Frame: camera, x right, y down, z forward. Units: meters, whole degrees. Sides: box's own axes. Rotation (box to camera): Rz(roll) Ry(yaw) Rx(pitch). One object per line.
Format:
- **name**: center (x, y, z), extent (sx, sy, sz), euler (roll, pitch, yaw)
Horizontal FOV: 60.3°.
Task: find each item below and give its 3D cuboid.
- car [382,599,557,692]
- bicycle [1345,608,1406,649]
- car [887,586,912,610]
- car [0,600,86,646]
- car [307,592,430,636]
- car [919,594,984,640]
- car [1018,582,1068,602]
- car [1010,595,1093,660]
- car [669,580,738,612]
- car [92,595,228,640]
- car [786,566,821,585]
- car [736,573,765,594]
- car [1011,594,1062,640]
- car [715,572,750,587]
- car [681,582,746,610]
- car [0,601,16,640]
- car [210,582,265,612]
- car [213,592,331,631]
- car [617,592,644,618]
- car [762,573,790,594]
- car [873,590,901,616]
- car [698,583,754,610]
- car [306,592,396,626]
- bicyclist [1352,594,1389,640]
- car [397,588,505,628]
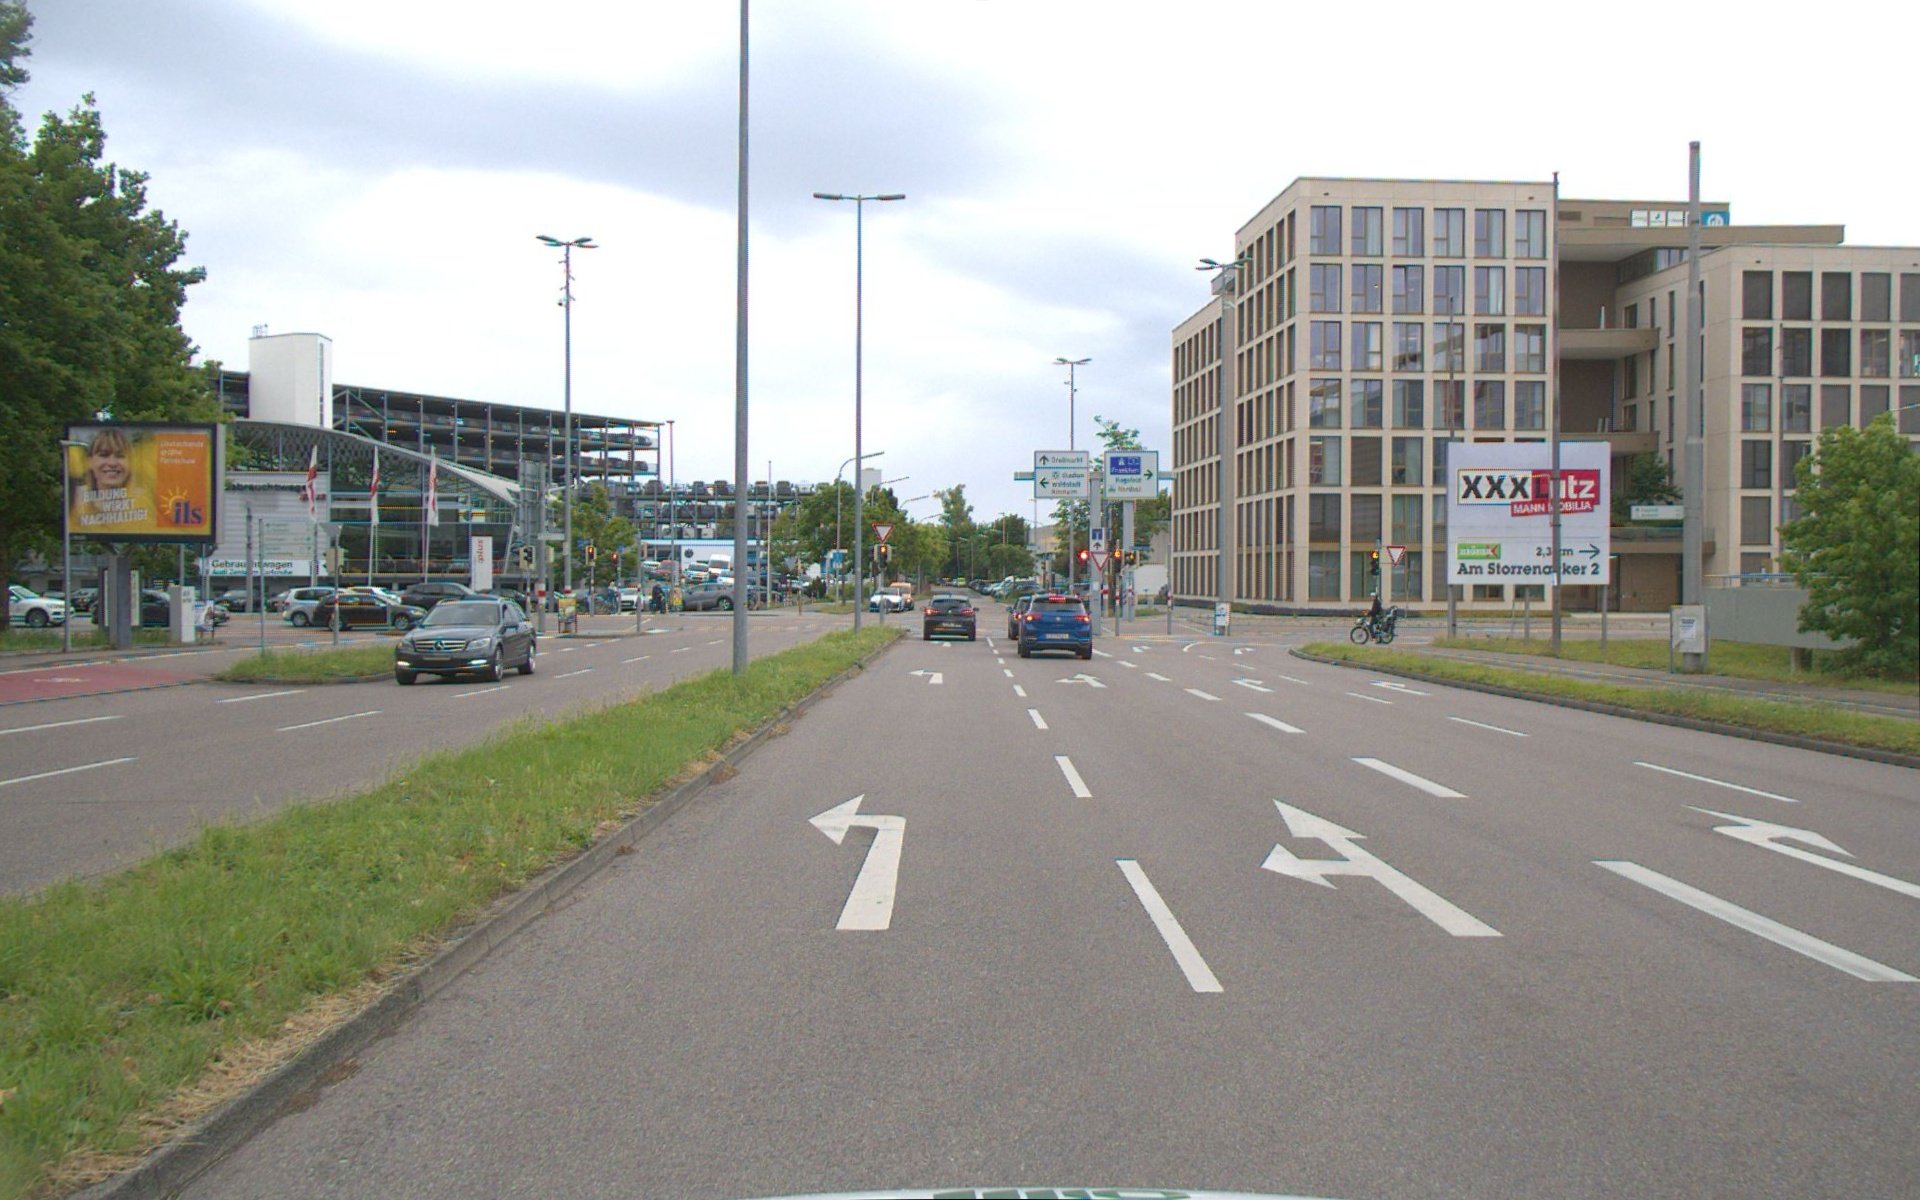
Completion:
- **car**: center (-8.872, 0.775, 30.326), extent (1.754, 1.505, 4.532), euler (-1, 0, 1)
- **bicycle**: center (13.993, 0.950, 55.735), extent (0.695, 1.318, 1.985), euler (0, 1, -37)
- **car**: center (-4.009, -0.125, 110.207), extent (1.568, 1.478, 3.324), euler (0, 2, -1)
- **car**: center (-39.112, 0.931, 68.851), extent (4.348, 1.740, 1.998), euler (0, 4, -7)
- **car**: center (-23.904, 0.563, 67.027), extent (4.333, 1.689, 1.997), euler (1, 0, -8)
- **car**: center (-0.322, 0.570, 54.219), extent (1.948, 1.453, 4.238), euler (0, -1, -3)
- **car**: center (6.496, -0.642, 129.398), extent (3.528, 1.504, 1.761), euler (1, 2, 19)
- **car**: center (2.259, 0.667, 41.679), extent (1.797, 1.541, 3.999), euler (0, 0, -1)
- **car**: center (-15.142, -0.245, 97.861), extent (3.910, 1.821, 1.845), euler (0, 2, -6)
- **car**: center (-31.915, 0.690, 66.100), extent (4.457, 1.689, 1.997), euler (-1, 1, -8)
- **car**: center (-14.386, -2.253, 152.120), extent (3.230, 1.669, 1.479), euler (0, 2, -4)
- **car**: center (-17.929, -1.433, 141.821), extent (1.738, 1.735, 3.919), euler (1, 2, 4)
- **car**: center (2.571, 0.551, 56.152), extent (1.493, 1.457, 3.390), euler (1, 1, -1)
- **car**: center (-23.697, -2.163, 172.530), extent (3.593, 1.555, 1.612), euler (0, 2, -8)
- **car**: center (-14.891, -0.249, 100.077), extent (3.748, 1.617, 1.681), euler (0, 2, -6)
- **car**: center (-40.134, 0.809, 65.683), extent (4.145, 1.538, 1.992), euler (0, 1, -5)
- **car**: center (-39.728, -0.196, 91.008), extent (1.565, 1.511, 3.535), euler (0, 2, -1)
- **car**: center (-28.919, 0.489, 69.663), extent (4.168, 1.535, 1.997), euler (0, 2, -8)
- **car**: center (-18.513, 0.282, 92.882), extent (1.348, 1.349, 3.022), euler (0, 2, -15)
- **car**: center (-15.784, -1.421, 141.905), extent (1.738, 1.735, 3.919), euler (1, 2, 4)
- **car**: center (-4.481, 0.186, 102.056), extent (1.568, 1.478, 3.324), euler (0, 2, -1)
- **car**: center (-15.362, -0.229, 108.599), extent (3.535, 1.697, 1.547), euler (0, 2, -6)
- **car**: center (-29.886, 0.443, 81.251), extent (3.868, 1.595, 1.757), euler (0, 2, -7)
- **bicyclist**: center (13.866, 0.562, 55.914), extent (0.695, 1.530, 0.987), euler (0, 1, -37)
- **car**: center (-22.660, 0.340, 73.738), extent (4.321, 1.672, 1.997), euler (0, 2, -9)
